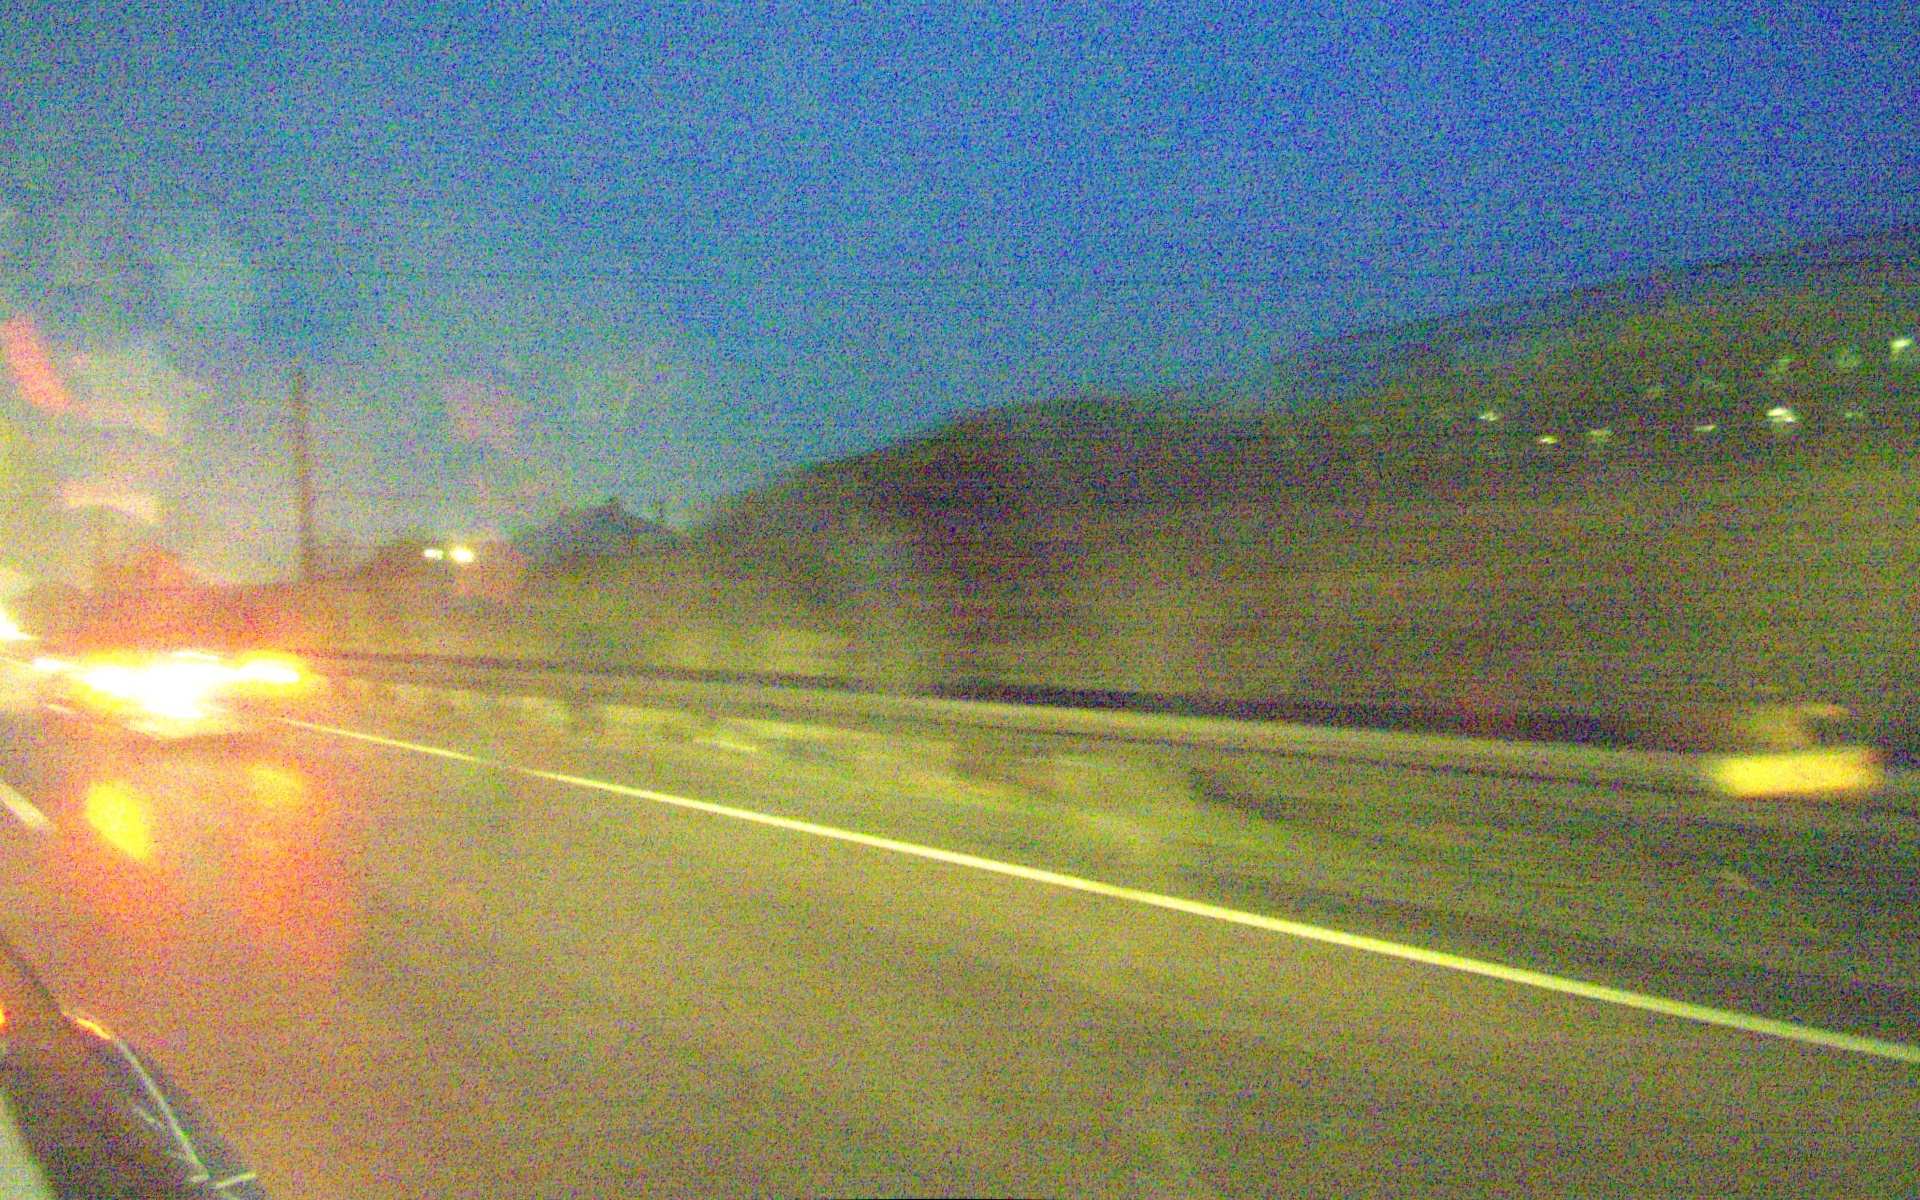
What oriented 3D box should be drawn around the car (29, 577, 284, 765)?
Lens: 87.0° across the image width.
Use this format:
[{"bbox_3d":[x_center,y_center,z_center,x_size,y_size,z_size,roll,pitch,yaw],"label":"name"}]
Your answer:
[{"bbox_3d":[-9.895,0.746,12.327,4.429,1.885,1.812,-1,-1,43],"label":"car"}]
